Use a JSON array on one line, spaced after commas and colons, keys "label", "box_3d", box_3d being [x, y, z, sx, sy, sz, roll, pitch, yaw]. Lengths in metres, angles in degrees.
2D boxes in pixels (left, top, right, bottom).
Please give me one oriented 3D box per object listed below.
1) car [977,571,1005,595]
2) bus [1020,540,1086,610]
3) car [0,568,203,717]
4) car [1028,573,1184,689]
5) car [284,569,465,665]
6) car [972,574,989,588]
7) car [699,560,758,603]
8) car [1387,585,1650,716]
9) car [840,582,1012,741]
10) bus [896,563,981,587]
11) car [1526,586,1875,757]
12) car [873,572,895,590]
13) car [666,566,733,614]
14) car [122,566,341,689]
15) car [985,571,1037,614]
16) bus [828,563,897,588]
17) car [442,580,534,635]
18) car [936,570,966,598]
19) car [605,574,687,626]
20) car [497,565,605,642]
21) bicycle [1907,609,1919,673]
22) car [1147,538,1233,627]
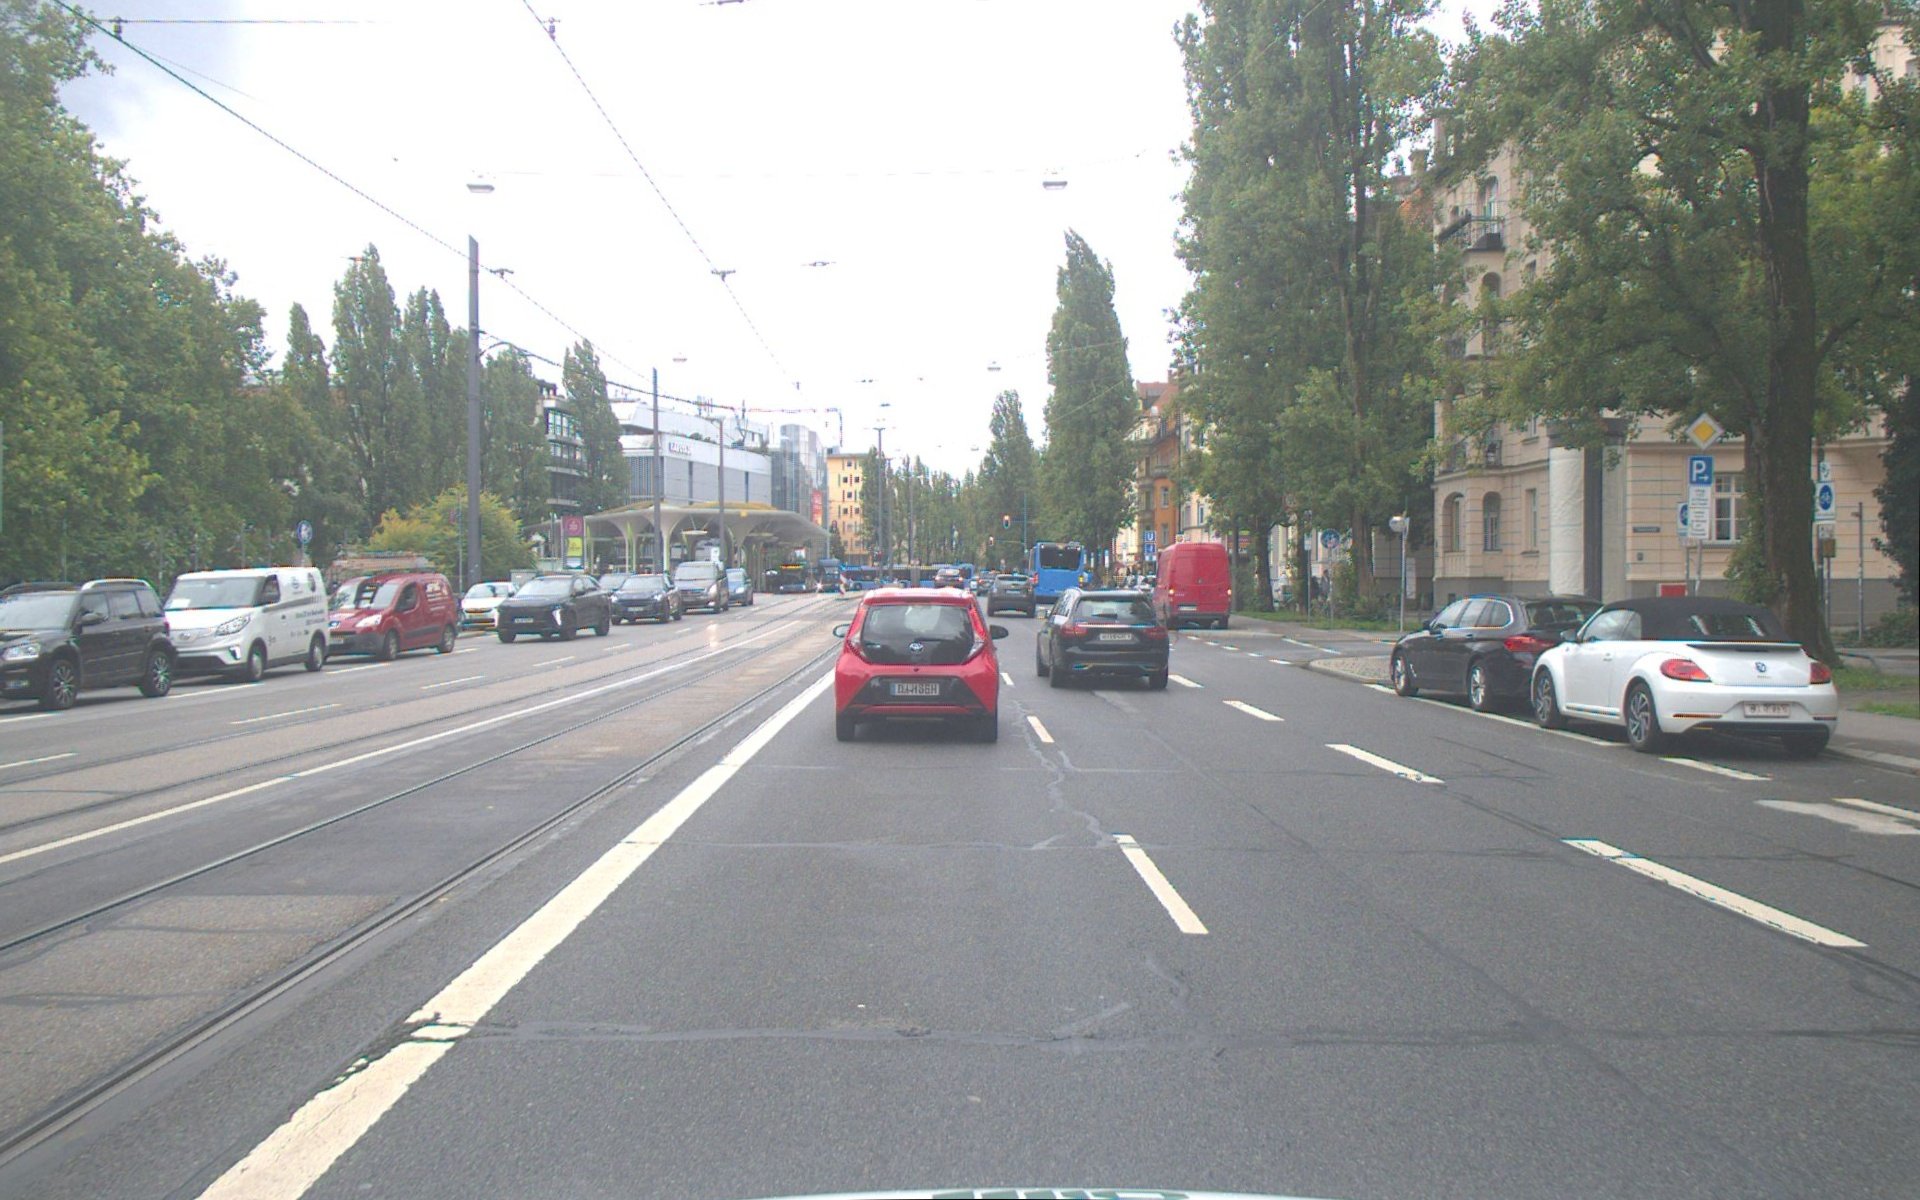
[{"label": "car", "box_3d": [2.051, -1.127, 110.001, 1.744, 1.512, 4.000, -1, 1, -1]}, {"label": "bus", "box_3d": [4.901, -1.464, 89.110, 2.847, 3.454, 10.806, 0, 3, -1]}, {"label": "car", "box_3d": [-12.298, 0.531, 22.639, 1.763, 1.819, 4.518, -3, 1, -1]}, {"label": "car", "box_3d": [2.182, 0.405, 25.935, 1.826, 1.576, 4.702, -1, 2, -2]}, {"label": "car", "box_3d": [-12.199, 0.304, 34.785, 1.761, 1.819, 4.522, -3, 1, 5]}, {"label": "car", "box_3d": [2.230, -2.146, 182.944, 1.744, 1.512, 4.000, -1, 1, -1]}, {"label": "car", "box_3d": [-10.003, -0.808, 71.741, 1.762, 1.694, 4.520, -3, 1, 2]}, {"label": "car", "box_3d": [7.280, 0.585, 22.068, 1.764, 1.534, 4.447, 0, 1, -4]}, {"label": "car", "box_3d": [-0.409, 0.560, 17.145, 1.596, 1.465, 3.374, 0, 1, -3]}, {"label": "bus", "box_3d": [-2.651, -3.049, 202.946, 10.348, 2.895, 1.999, 0, 2, -5]}, {"label": "car", "box_3d": [7.425, 0.634, 17.057, 1.763, 1.534, 3.999, 0, 1, -1]}, {"label": "car", "box_3d": [-6.712, -1.696, 146.194, 1.744, 1.512, 3.999, 0, 1, -1]}, {"label": "car", "box_3d": [-9.862, -0.394, 62.959, 1.763, 1.694, 4.519, -3, 1, 0]}, {"label": "car", "box_3d": [-12.509, 0.416, 28.762, 1.763, 1.893, 4.629, -3, 1, -1]}, {"label": "car", "box_3d": [1.850, -0.291, 61.553, 1.744, 1.512, 3.999, 0, 1, -1]}, {"label": "bus", "box_3d": [-11.943, -2.999, 202.080, 8.302, 2.895, 1.998, 0, 2, -6]}, {"label": "car", "box_3d": [-14.670, 0.209, 51.665, 1.764, 1.557, 4.516, -3, 1, -4]}, {"label": "car", "box_3d": [-0.565, -0.969, 99.400, 1.700, 1.576, 4.576, -1, 1, -1]}, {"label": "car", "box_3d": [-10.278, -0.034, 54.395, 1.762, 1.557, 4.519, -3, 1, 0]}, {"label": "car", "box_3d": [-10.540, 0.064, 42.933, 1.763, 1.819, 4.517, -3, 1, -2]}, {"label": "bicycle", "box_3d": [14.581, 0.623, 23.904, 0.639, 0.939, 1.902, -1, 1, -3]}, {"label": "car", "box_3d": [7.149, -0.620, 51.820, 1.953, 2.618, 4.680, 0, 2, -1]}]
